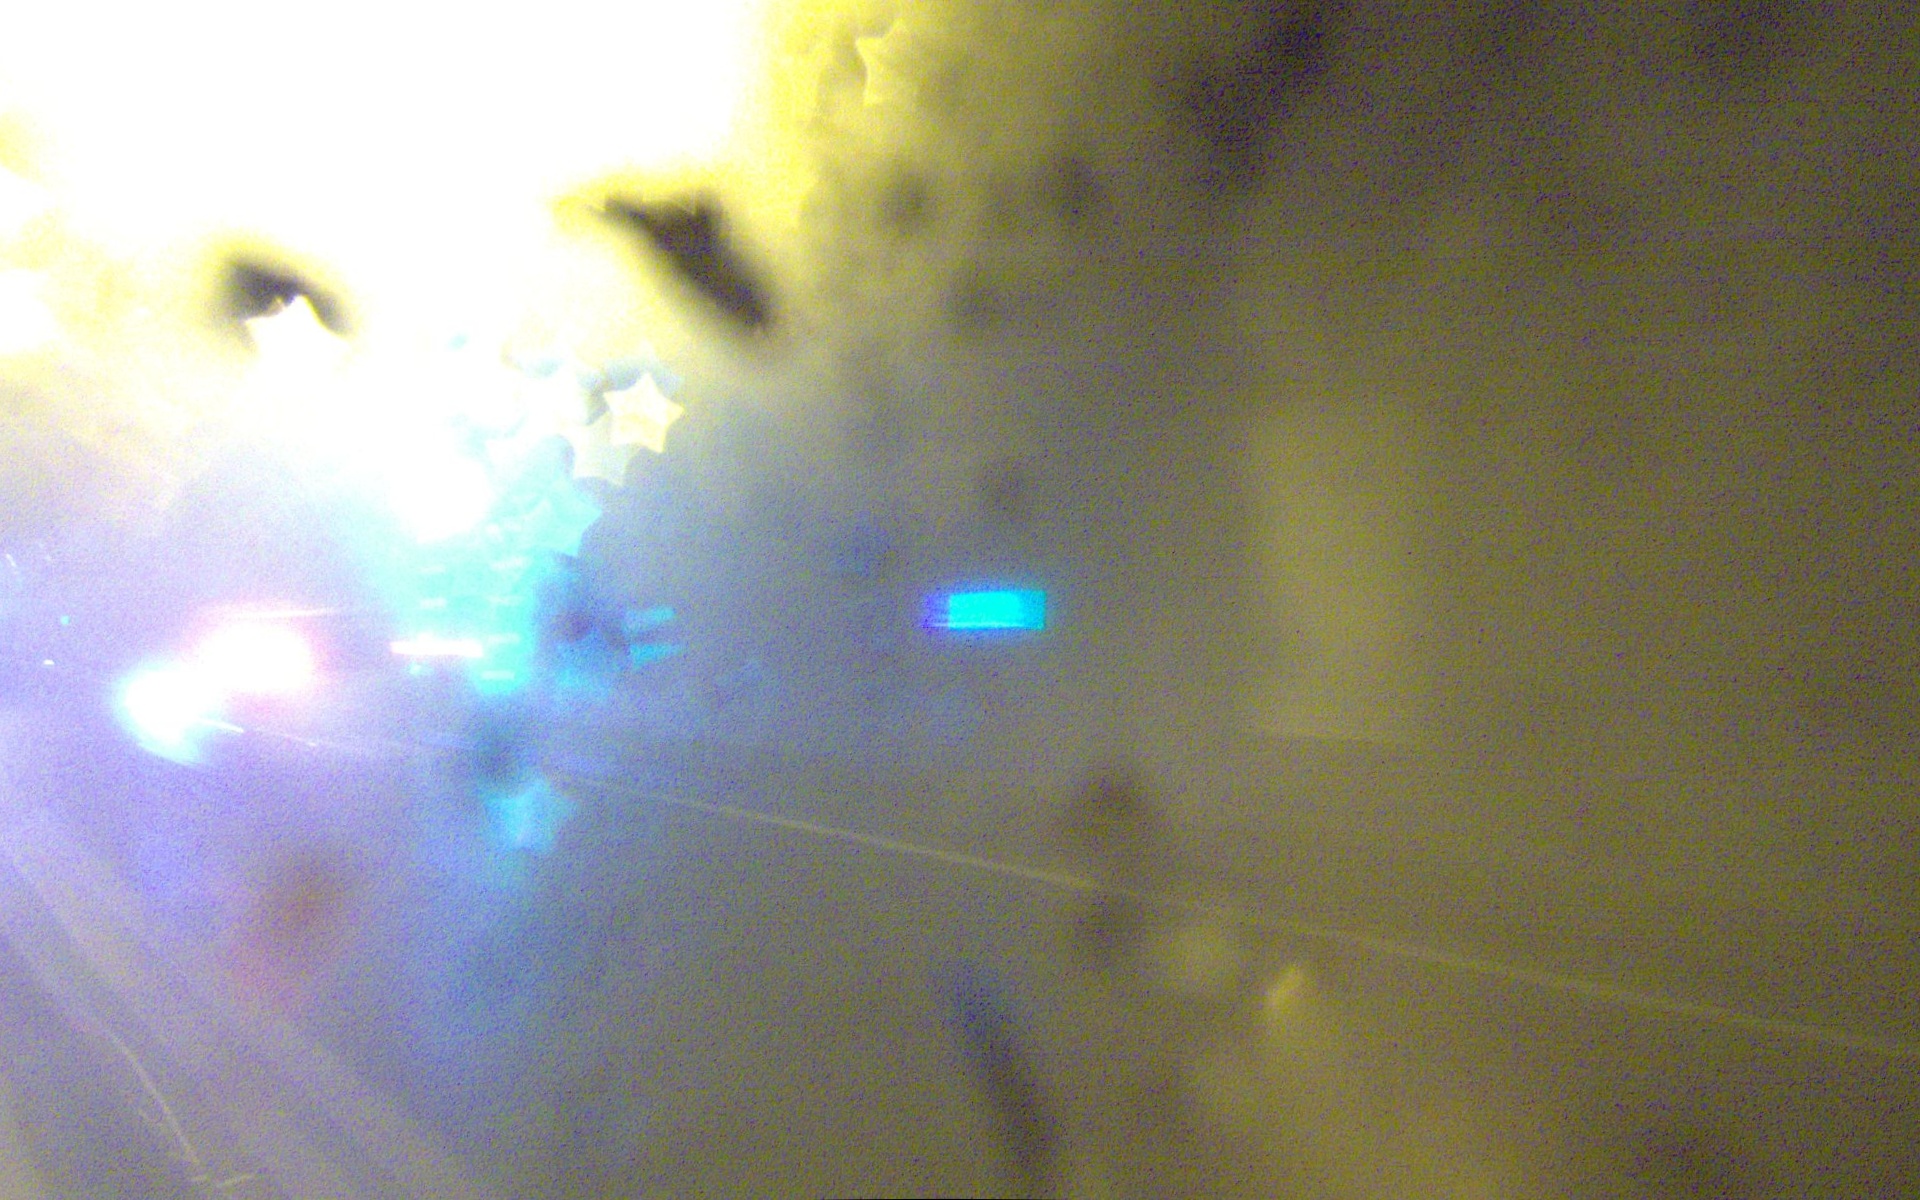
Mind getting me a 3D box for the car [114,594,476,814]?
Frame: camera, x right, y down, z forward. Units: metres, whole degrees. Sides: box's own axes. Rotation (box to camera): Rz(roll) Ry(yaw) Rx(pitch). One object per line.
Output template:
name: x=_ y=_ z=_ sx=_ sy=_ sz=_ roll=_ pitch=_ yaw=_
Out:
car: x=-5.925 y=0.768 z=8.864 sx=3.742 sy=1.517 sz=1.673 roll=-1 pitch=-2 yaw=40
